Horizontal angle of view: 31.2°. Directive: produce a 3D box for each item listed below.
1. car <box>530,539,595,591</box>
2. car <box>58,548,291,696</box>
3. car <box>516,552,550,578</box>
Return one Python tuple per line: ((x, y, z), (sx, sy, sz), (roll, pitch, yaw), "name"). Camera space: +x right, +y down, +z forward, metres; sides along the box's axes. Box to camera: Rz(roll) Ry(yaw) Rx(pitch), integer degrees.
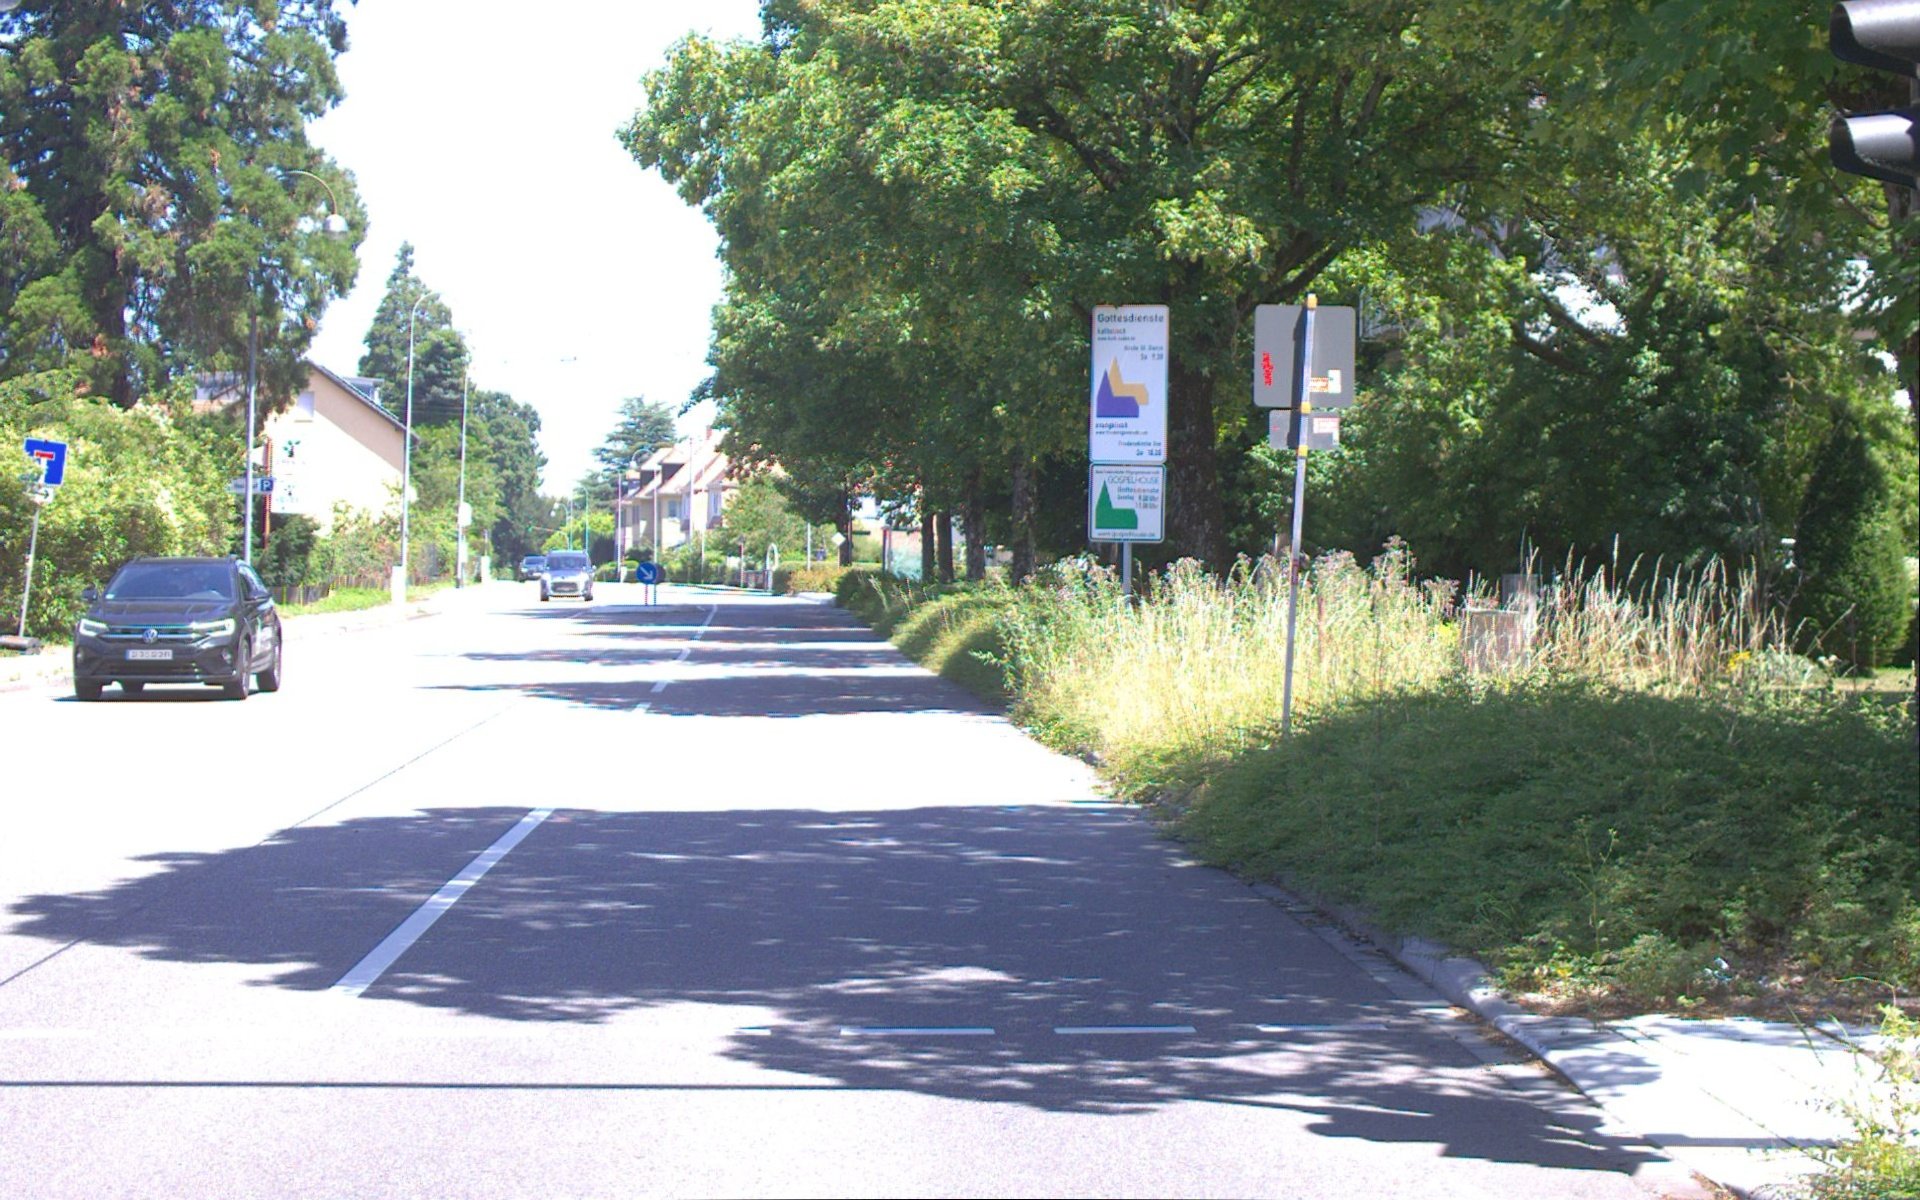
((-13.870, -1.239, 120.175), (1.811, 1.756, 4.570), (1, 1, -1), "car")
((-8.369, 0.192, 36.929), (1.869, 1.501, 4.053), (0, 1, -5), "car")
((-25.507, -2.114, 205.271), (1.822, 1.546, 4.001), (0, 1, -4), "car")
